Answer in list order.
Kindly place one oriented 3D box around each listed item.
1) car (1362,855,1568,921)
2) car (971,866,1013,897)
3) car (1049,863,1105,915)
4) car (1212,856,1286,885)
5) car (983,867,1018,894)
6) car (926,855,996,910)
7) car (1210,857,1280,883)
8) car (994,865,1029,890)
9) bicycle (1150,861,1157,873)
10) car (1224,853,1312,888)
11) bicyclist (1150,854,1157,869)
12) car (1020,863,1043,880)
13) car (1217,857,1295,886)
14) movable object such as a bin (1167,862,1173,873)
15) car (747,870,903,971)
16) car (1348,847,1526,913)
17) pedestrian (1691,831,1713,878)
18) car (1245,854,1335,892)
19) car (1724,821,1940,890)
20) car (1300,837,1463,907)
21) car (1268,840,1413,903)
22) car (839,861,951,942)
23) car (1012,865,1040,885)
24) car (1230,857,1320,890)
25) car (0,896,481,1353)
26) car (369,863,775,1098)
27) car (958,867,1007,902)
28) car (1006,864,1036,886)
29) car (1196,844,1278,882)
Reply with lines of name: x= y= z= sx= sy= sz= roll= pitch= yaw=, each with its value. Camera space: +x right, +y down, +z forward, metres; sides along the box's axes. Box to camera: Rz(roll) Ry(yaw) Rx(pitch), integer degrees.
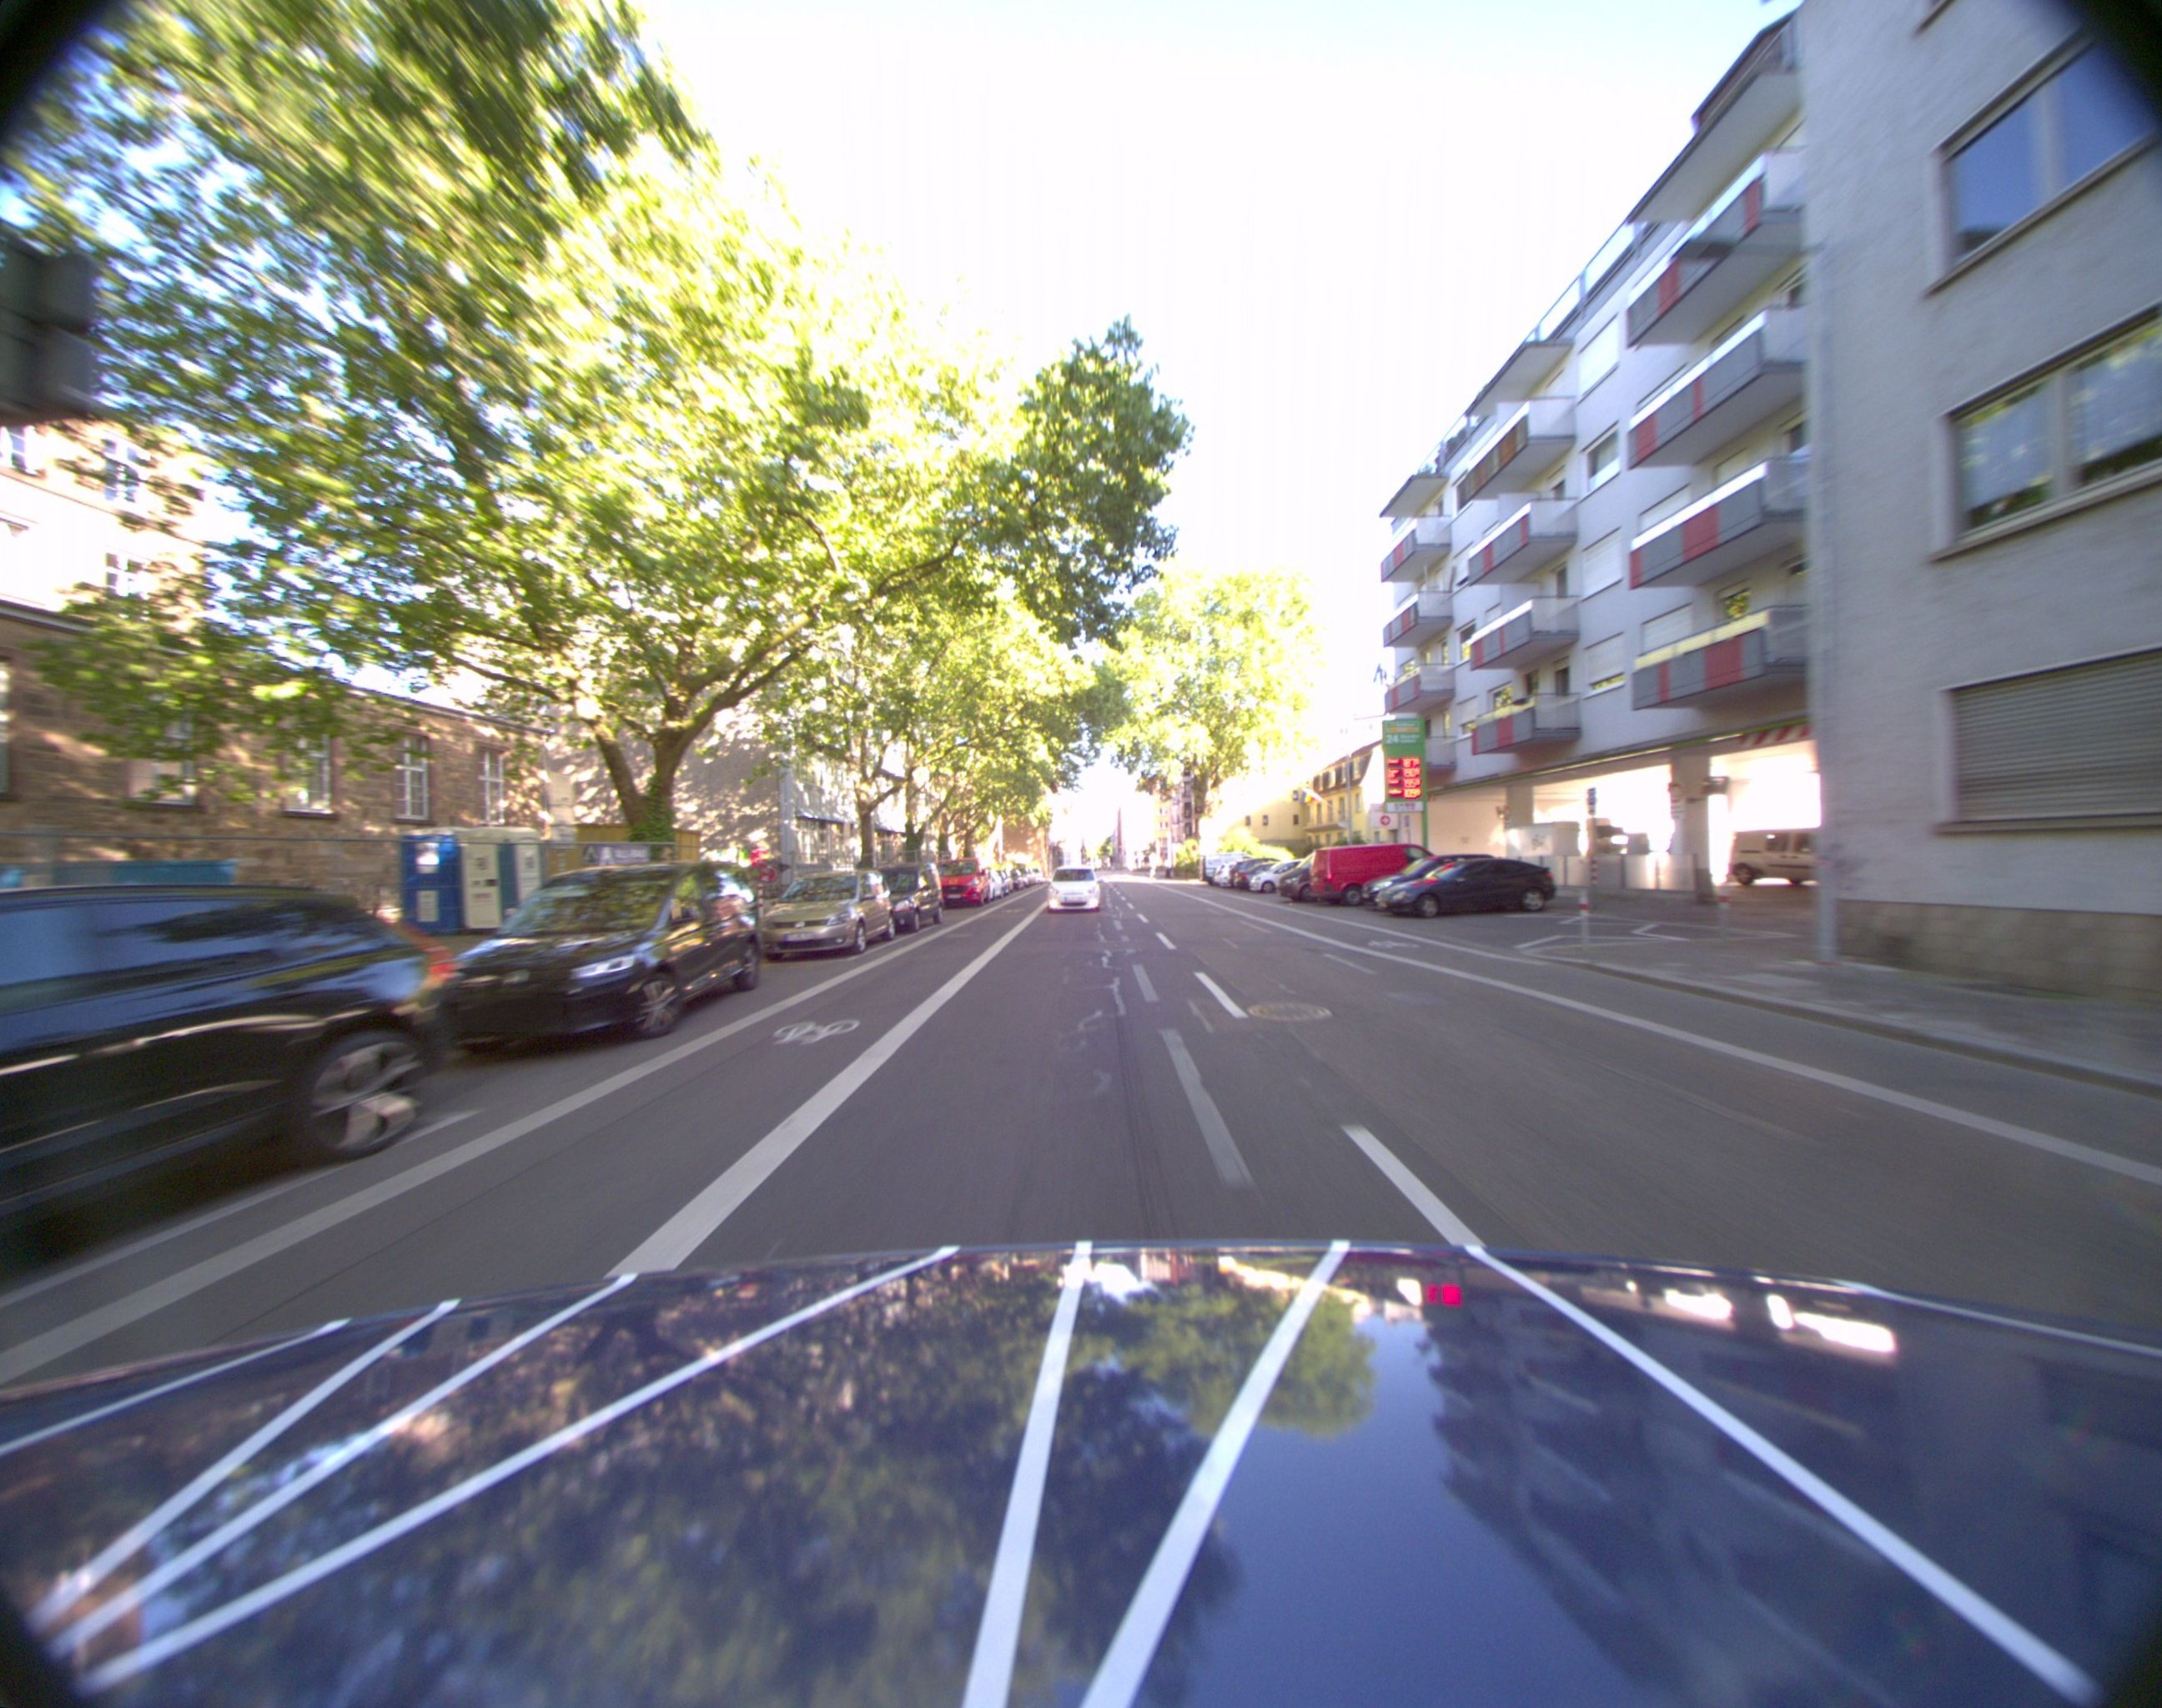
car: x=9.770 y=0.840 z=19.614 sx=4.239 sy=1.372 sz=2.046 roll=-3 pitch=0 yaw=1
car: x=-4.756 y=1.464 z=41.186 sx=1.860 sy=1.501 sz=3.929 roll=-4 pitch=-1 yaw=-2
car: x=-0.124 y=1.085 z=25.074 sx=1.683 sy=1.490 sz=3.685 roll=-1 pitch=0 yaw=0
car: x=10.028 y=0.976 z=45.650 sx=3.997 sy=1.550 sz=1.853 roll=-2 pitch=-1 yaw=1
car: x=-4.773 y=1.541 z=45.336 sx=1.617 sy=1.466 sz=3.493 roll=-3 pitch=-1 yaw=0
car: x=-4.856 y=1.105 z=31.469 sx=2.083 sy=1.982 sz=5.171 roll=-3 pitch=0 yaw=-1
car: x=10.292 y=1.008 z=47.888 sx=3.997 sy=1.424 sz=1.853 roll=-2 pitch=0 yaw=1
car: x=-4.635 y=1.536 z=51.120 sx=1.860 sy=1.513 sz=4.599 roll=-3 pitch=-1 yaw=0
bicycle: x=7.485 y=1.369 z=78.322 sx=0.608 sy=1.232 sz=2.050 roll=1 pitch=-1 yaw=1
car: x=10.022 y=0.861 z=40.915 sx=4.204 sy=1.674 sz=2.028 roll=-2 pitch=0 yaw=1
bicyclist: x=7.483 y=0.769 z=78.787 sx=0.608 sy=1.535 sz=0.934 roll=1 pitch=-1 yaw=1
car: x=-4.365 y=1.544 z=68.001 sx=1.860 sy=1.428 sz=4.969 roll=-2 pitch=0 yaw=-2
car: x=9.974 y=1.003 z=43.524 sx=3.997 sy=1.424 sz=1.853 roll=-2 pitch=0 yaw=1
movable object such as a bin: x=9.386 y=1.421 z=80.220 sx=0.595 sy=1.065 sz=0.645 roll=-1 pitch=0 yaw=1
car: x=-4.981 y=1.206 z=15.447 sx=1.697 sy=1.618 sz=4.329 roll=-3 pitch=0 yaw=-2
car: x=10.150 y=0.715 z=21.922 sx=4.183 sy=1.554 sz=1.886 roll=-4 pitch=0 yaw=1
pedestrian: x=22.021 y=0.028 z=26.942 sx=0.538 sy=1.639 sz=0.636 roll=-2 pitch=0 yaw=44
car: x=9.813 y=0.877 z=35.878 sx=3.694 sy=1.504 sz=1.831 roll=-3 pitch=0 yaw=1
car: x=21.224 y=0.028 z=21.797 sx=1.725 sy=1.737 sz=4.585 roll=-1 pitch=0 yaw=1
car: x=9.771 y=0.582 z=24.989 sx=4.432 sy=1.940 sz=2.146 roll=-4 pitch=0 yaw=1
car: x=9.385 y=0.615 z=27.784 sx=4.534 sy=1.940 sz=2.057 roll=-4 pitch=0 yaw=1
car: x=-4.759 y=1.148 z=20.069 sx=1.697 sy=1.802 sz=4.131 roll=-3 pitch=0 yaw=2
car: x=-4.465 y=1.678 z=62.143 sx=1.860 sy=1.428 sz=4.602 roll=-2 pitch=0 yaw=0
car: x=9.707 y=0.969 z=38.166 sx=3.997 sy=1.447 sz=1.916 roll=-2 pitch=0 yaw=1
car: x=-5.022 y=1.132 z=2.881 sx=1.780 sy=1.618 sz=4.620 roll=-3 pitch=0 yaw=-1
car: x=-5.205 y=1.074 z=8.792 sx=1.830 sy=1.830 sz=4.896 roll=-3 pitch=0 yaw=-8
car: x=-4.629 y=1.401 z=36.166 sx=1.641 sy=1.476 sz=3.760 roll=-3 pitch=0 yaw=2
car: x=-4.464 y=1.561 z=57.228 sx=1.860 sy=1.513 sz=4.297 roll=-3 pitch=0 yaw=0
car: x=10.260 y=0.615 z=50.289 sx=4.856 sy=2.203 sz=2.140 roll=-3 pitch=0 yaw=0
